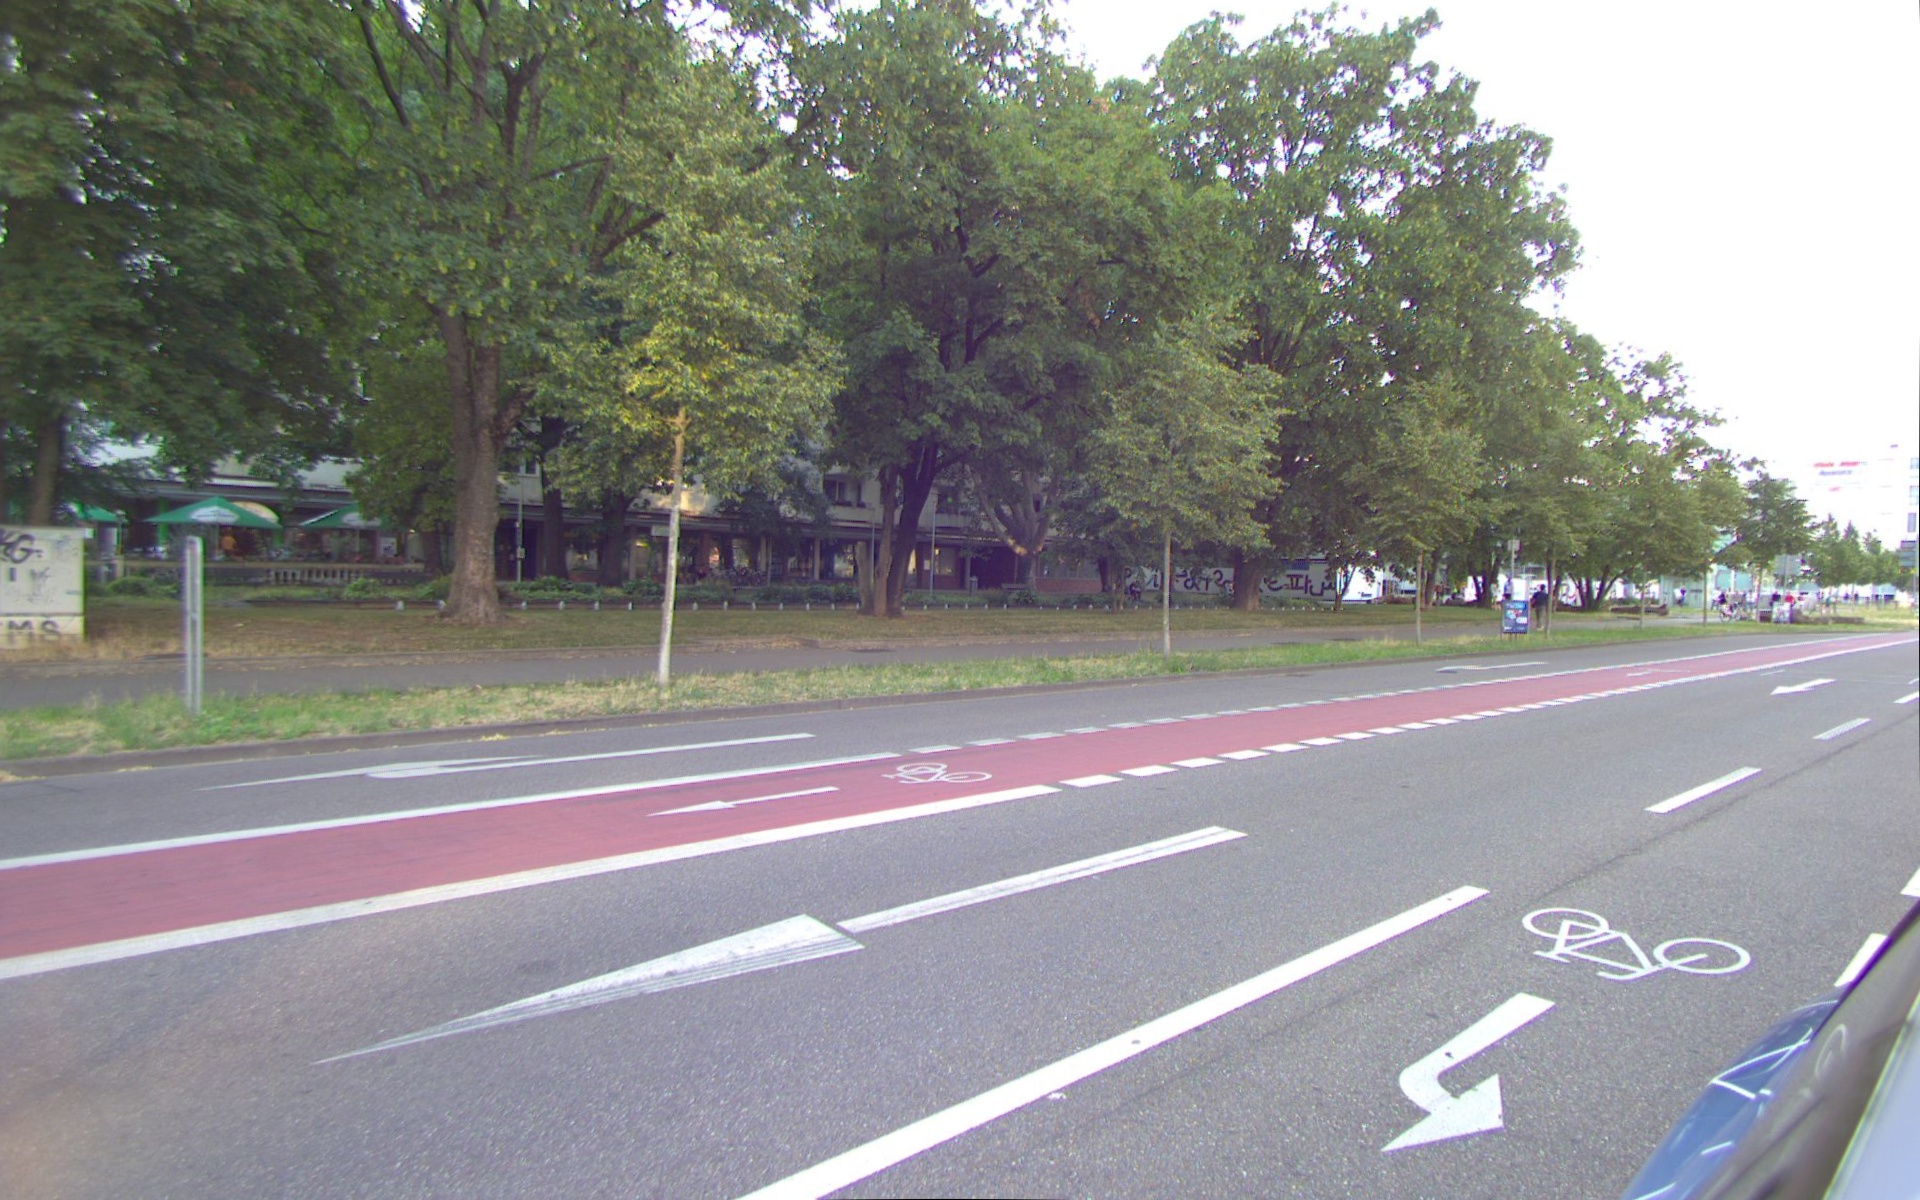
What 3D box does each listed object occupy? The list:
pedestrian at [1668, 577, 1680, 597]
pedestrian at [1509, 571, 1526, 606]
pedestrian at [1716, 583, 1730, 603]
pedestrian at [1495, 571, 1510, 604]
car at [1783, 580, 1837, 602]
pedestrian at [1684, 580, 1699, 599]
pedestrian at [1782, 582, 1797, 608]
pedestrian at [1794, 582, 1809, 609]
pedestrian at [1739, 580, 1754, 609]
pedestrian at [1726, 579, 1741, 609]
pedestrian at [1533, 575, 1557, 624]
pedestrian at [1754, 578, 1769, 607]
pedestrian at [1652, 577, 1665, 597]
[{"bbox_3d":[50.166,-0.939,71.089,0.759,1.371,0.519,0,2,-41],"label":"pedestrian"},{"bbox_3d":[26.180,-0.563,47.505,0.513,1.621,0.500,0,2,-41],"label":"pedestrian"},{"bbox_3d":[54.476,-0.496,72.220,0.550,1.371,0.662,0,2,-40],"label":"pedestrian"},{"bbox_3d":[26.490,-0.613,49.407,0.359,1.621,0.500,0,2,-40],"label":"pedestrian"},{"bbox_3d":[84.852,-0.957,101.063,3.989,2.038,1.968,3,2,44],"label":"car"},{"bbox_3d":[52.867,-0.750,73.152,0.604,1.371,0.728,0,2,-40],"label":"pedestrian"},{"bbox_3d":[56.782,-0.331,69.293,0.497,1.779,0.638,0,2,-40],"label":"pedestrian"},{"bbox_3d":[56.777,-0.318,68.254,0.497,1.779,0.638,0,2,-40],"label":"pedestrian"},{"bbox_3d":[48.079,-0.349,61.865,0.707,1.751,0.519,0,2,-41],"label":"pedestrian"},{"bbox_3d":[45.189,-0.366,59.142,0.707,1.751,0.508,0,2,-41],"label":"pedestrian"},{"bbox_3d":[21.438,-0.028,37.115,0.546,1.760,0.558,0,2,-41],"label":"pedestrian"},{"bbox_3d":[48.492,-0.439,61.233,0.707,1.751,0.508,0,2,-41],"label":"pedestrian"},{"bbox_3d":[49.470,-0.930,71.683,0.759,1.371,0.519,0,2,-41],"label":"pedestrian"}]
